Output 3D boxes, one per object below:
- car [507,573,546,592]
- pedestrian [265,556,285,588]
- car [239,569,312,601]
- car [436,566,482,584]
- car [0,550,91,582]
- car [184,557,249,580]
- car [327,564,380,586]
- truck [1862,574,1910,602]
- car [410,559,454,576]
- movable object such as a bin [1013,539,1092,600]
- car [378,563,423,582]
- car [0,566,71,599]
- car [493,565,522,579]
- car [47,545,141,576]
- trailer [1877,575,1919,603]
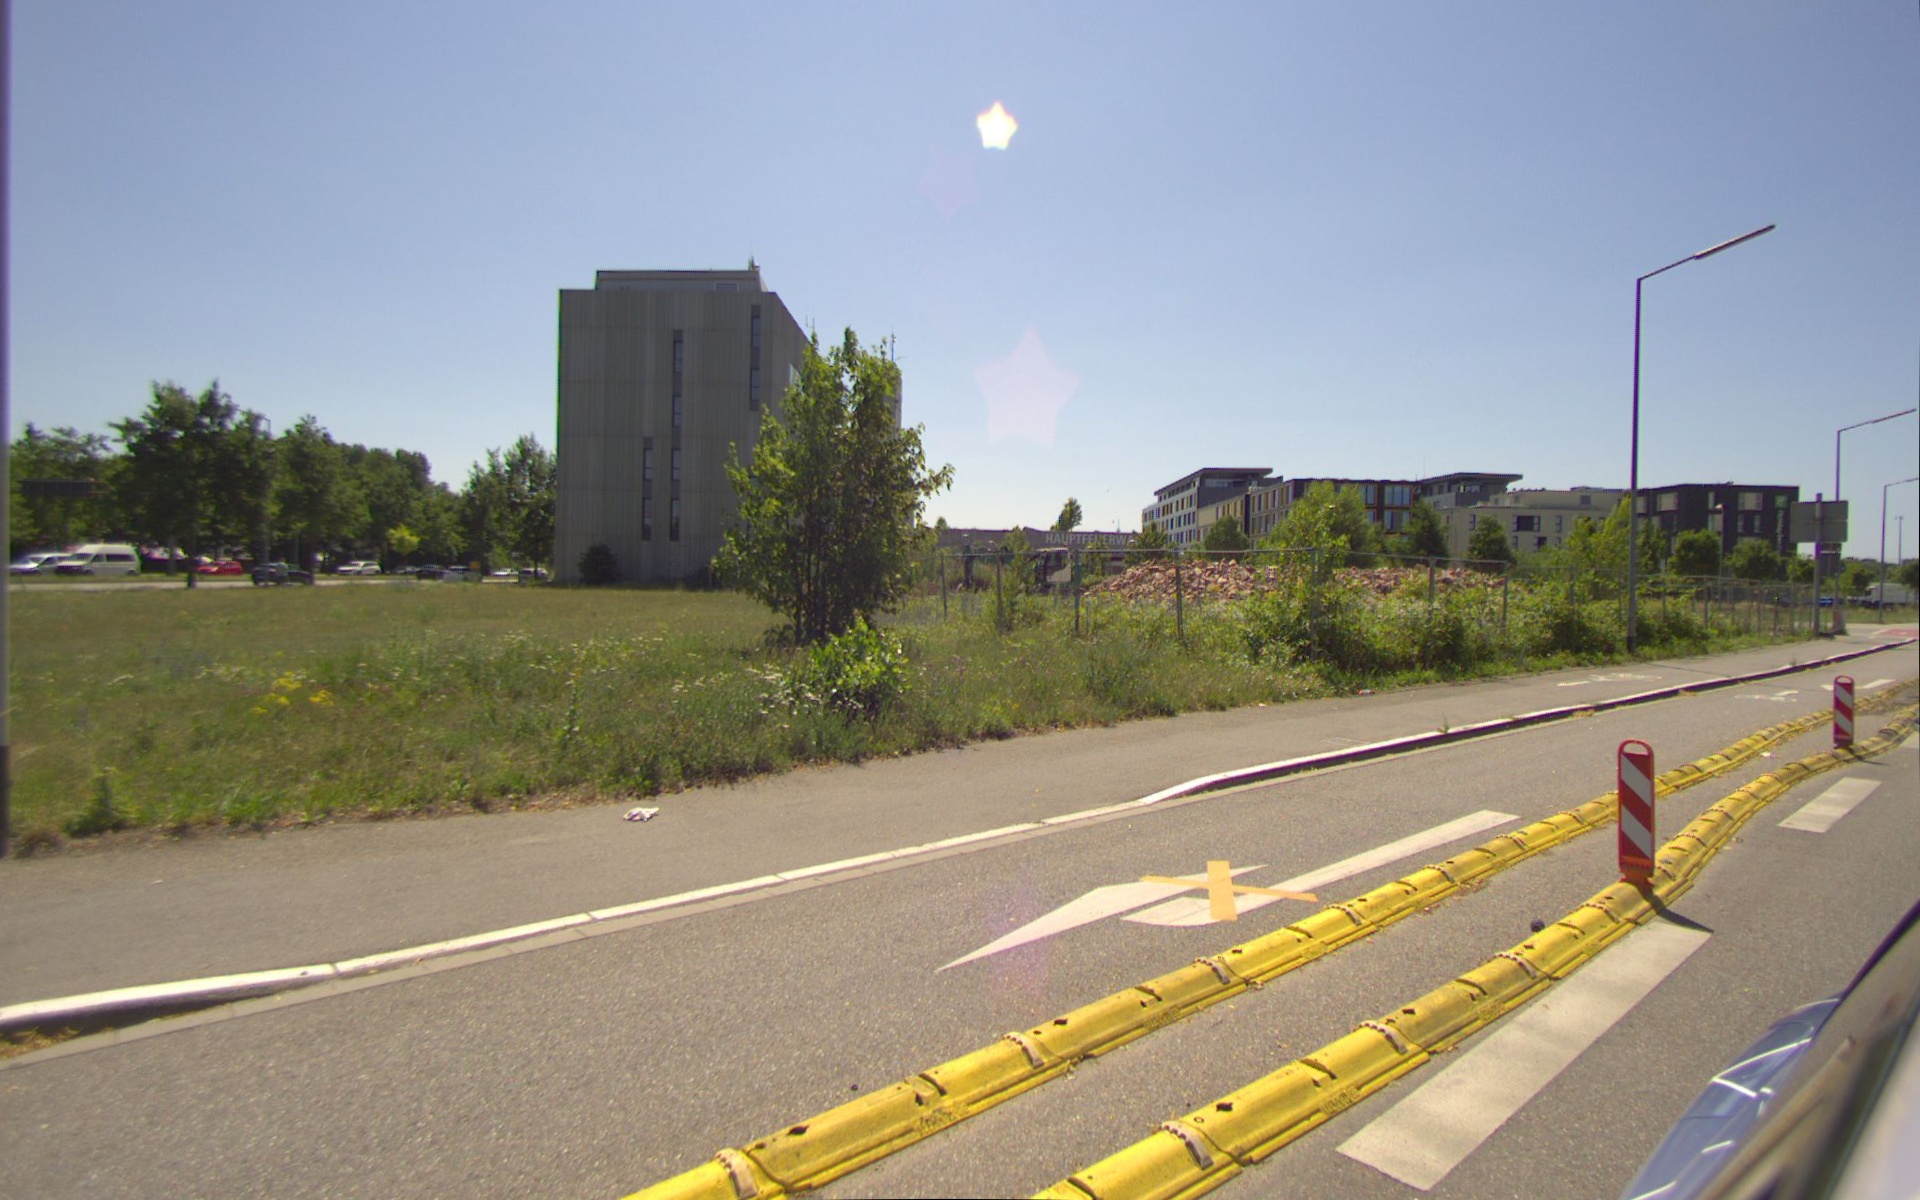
[{"bbox_3d":[-42.619,-1.718,99.585,1.961,1.727,4.942,0,1,-3],"label":"car"},{"bbox_3d":[-34.042,-1.373,50.324,0.489,1.583,0.737,0,0,-1],"label":"pedestrian"},{"bbox_3d":[-44.893,-1.000,66.468,1.963,2.039,3.998,0,1,2],"label":"car"},{"bbox_3d":[-42.125,-2.121,85.178,1.604,1.462,4.015,0,1,6],"label":"car"},{"bbox_3d":[-61.787,-2.276,68.176,1.963,2.039,5.083,0,1,2],"label":"car"},{"bbox_3d":[-61.860,-2.608,84.303,1.963,1.873,4.603,0,1,2],"label":"car"},{"bbox_3d":[-58.287,-2.349,97.394,1.963,2.039,5.083,0,1,2],"label":"car"},{"bbox_3d":[115.871,-1.471,126.693,3.928,3.377,1.998,1,1,4],"label":"truck"},{"bbox_3d":[-47.300,-2.883,90.797,1.961,1.425,4.001,0,1,-1],"label":"car"},{"bbox_3d":[4.935,-1.591,53.950,3.619,3.101,2.207,0,1,-35],"label":"movable object such as a bin"},{"bbox_3d":[-60.726,-2.957,109.902,1.963,2.039,5.083,0,1,2],"label":"car"},{"bbox_3d":[-47.742,-0.880,51.284,1.806,1.605,3.998,0,1,3],"label":"car"},{"bbox_3d":[-59.636,-3.703,133.457,1.964,1.738,3.996,0,1,4],"label":"car"},{"bbox_3d":[-58.851,-2.650,68.886,1.963,2.039,5.083,0,1,2],"label":"car"},{"bbox_3d":[119.667,-1.352,126.396,8.030,3.390,1.998,1,1,4],"label":"trailer"}]
